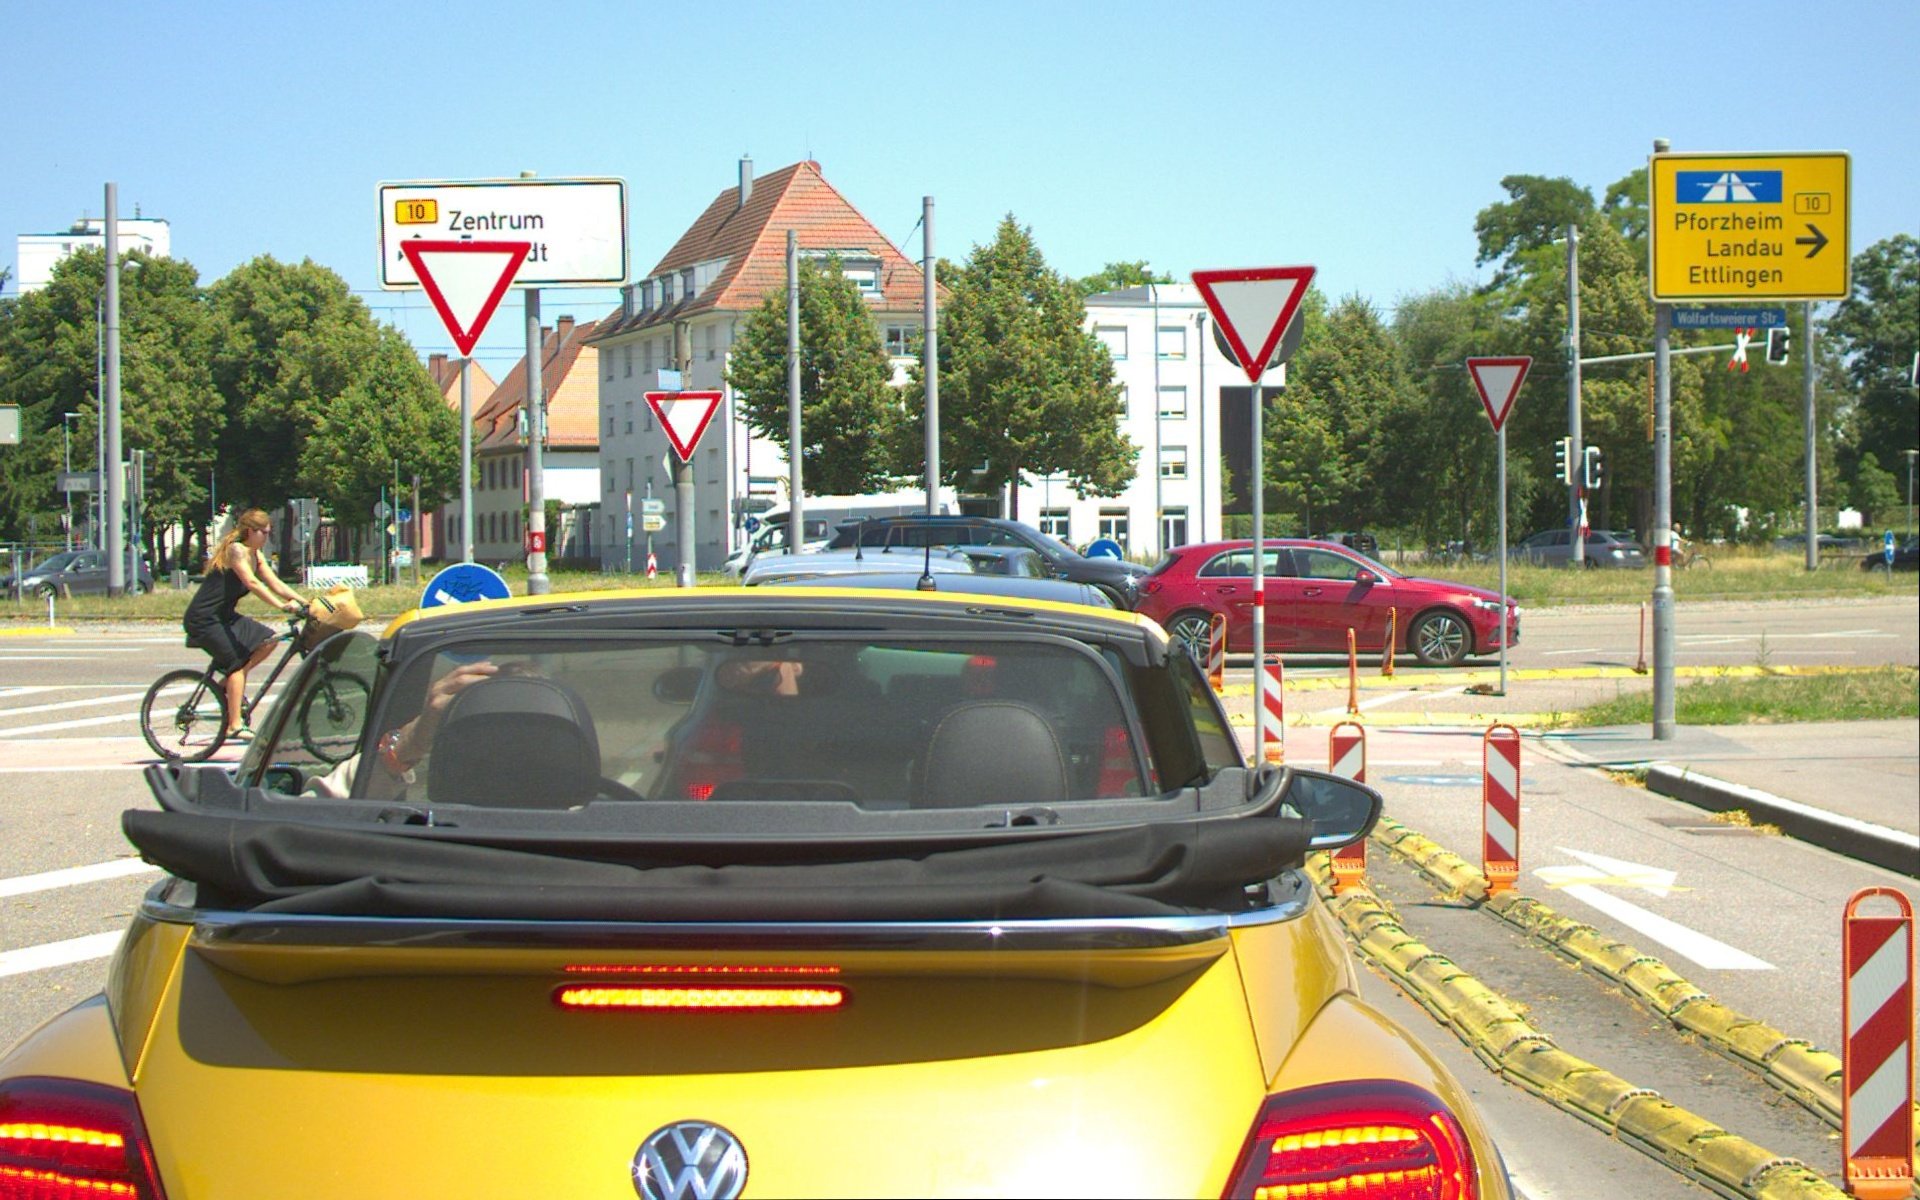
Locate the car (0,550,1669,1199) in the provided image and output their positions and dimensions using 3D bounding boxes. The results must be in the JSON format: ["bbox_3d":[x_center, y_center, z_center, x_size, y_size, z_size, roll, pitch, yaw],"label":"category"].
[{"bbox_3d":[-0.308,0.681,5.081,1.765,1.476,4.258,1,1,-1],"label":"car"}]

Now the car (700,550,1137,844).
[{"bbox_3d":[-0.223,0.443,18.555,2.065,1.377,4.258,1,1,-1],"label":"car"}]

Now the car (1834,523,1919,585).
[{"bbox_3d":[26.973,-1.277,96.538,1.843,1.730,4.443,0,1,-40],"label":"car"}]

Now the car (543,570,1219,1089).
[{"bbox_3d":[-0.242,0.617,11.647,1.851,1.361,4.258,-1,1,-1],"label":"car"}]

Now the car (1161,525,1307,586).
[{"bbox_3d":[8.242,-1.341,103.400,3.991,1.766,1.784,1,1,21],"label":"car"}]

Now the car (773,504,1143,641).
[{"bbox_3d":[0.011,-0.366,44.181,4.407,1.590,1.999,-1,4,12],"label":"car"}]

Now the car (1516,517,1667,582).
[{"bbox_3d":[17.553,-1.401,95.728,1.842,1.730,4.445,1,1,-26],"label":"car"}]

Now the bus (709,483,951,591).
[{"bbox_3d":[-3.942,-1.902,104.751,7.252,3.161,2.261,1,0,-1],"label":"bus"}]

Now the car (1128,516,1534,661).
[{"bbox_3d":[4.142,-0.136,38.681,4.406,1.522,2.000,1,0,5],"label":"car"}]

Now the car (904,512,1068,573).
[{"bbox_3d":[0.769,-1.689,101.099,4.434,1.730,1.847,1,1,19],"label":"car"}]

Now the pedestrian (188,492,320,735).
[{"bbox_3d":[-4.985,0.094,24.290,0.733,1.685,0.575,1,0,9],"label":"pedestrian"}]

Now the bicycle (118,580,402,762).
[{"bbox_3d":[-4.937,0.497,24.270,1.843,1.227,0.613,-2,0,10],"label":"bicycle"}]

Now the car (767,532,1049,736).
[{"bbox_3d":[-0.407,0.210,27.691,2.065,1.476,4.543,-1,1,-1],"label":"car"}]
